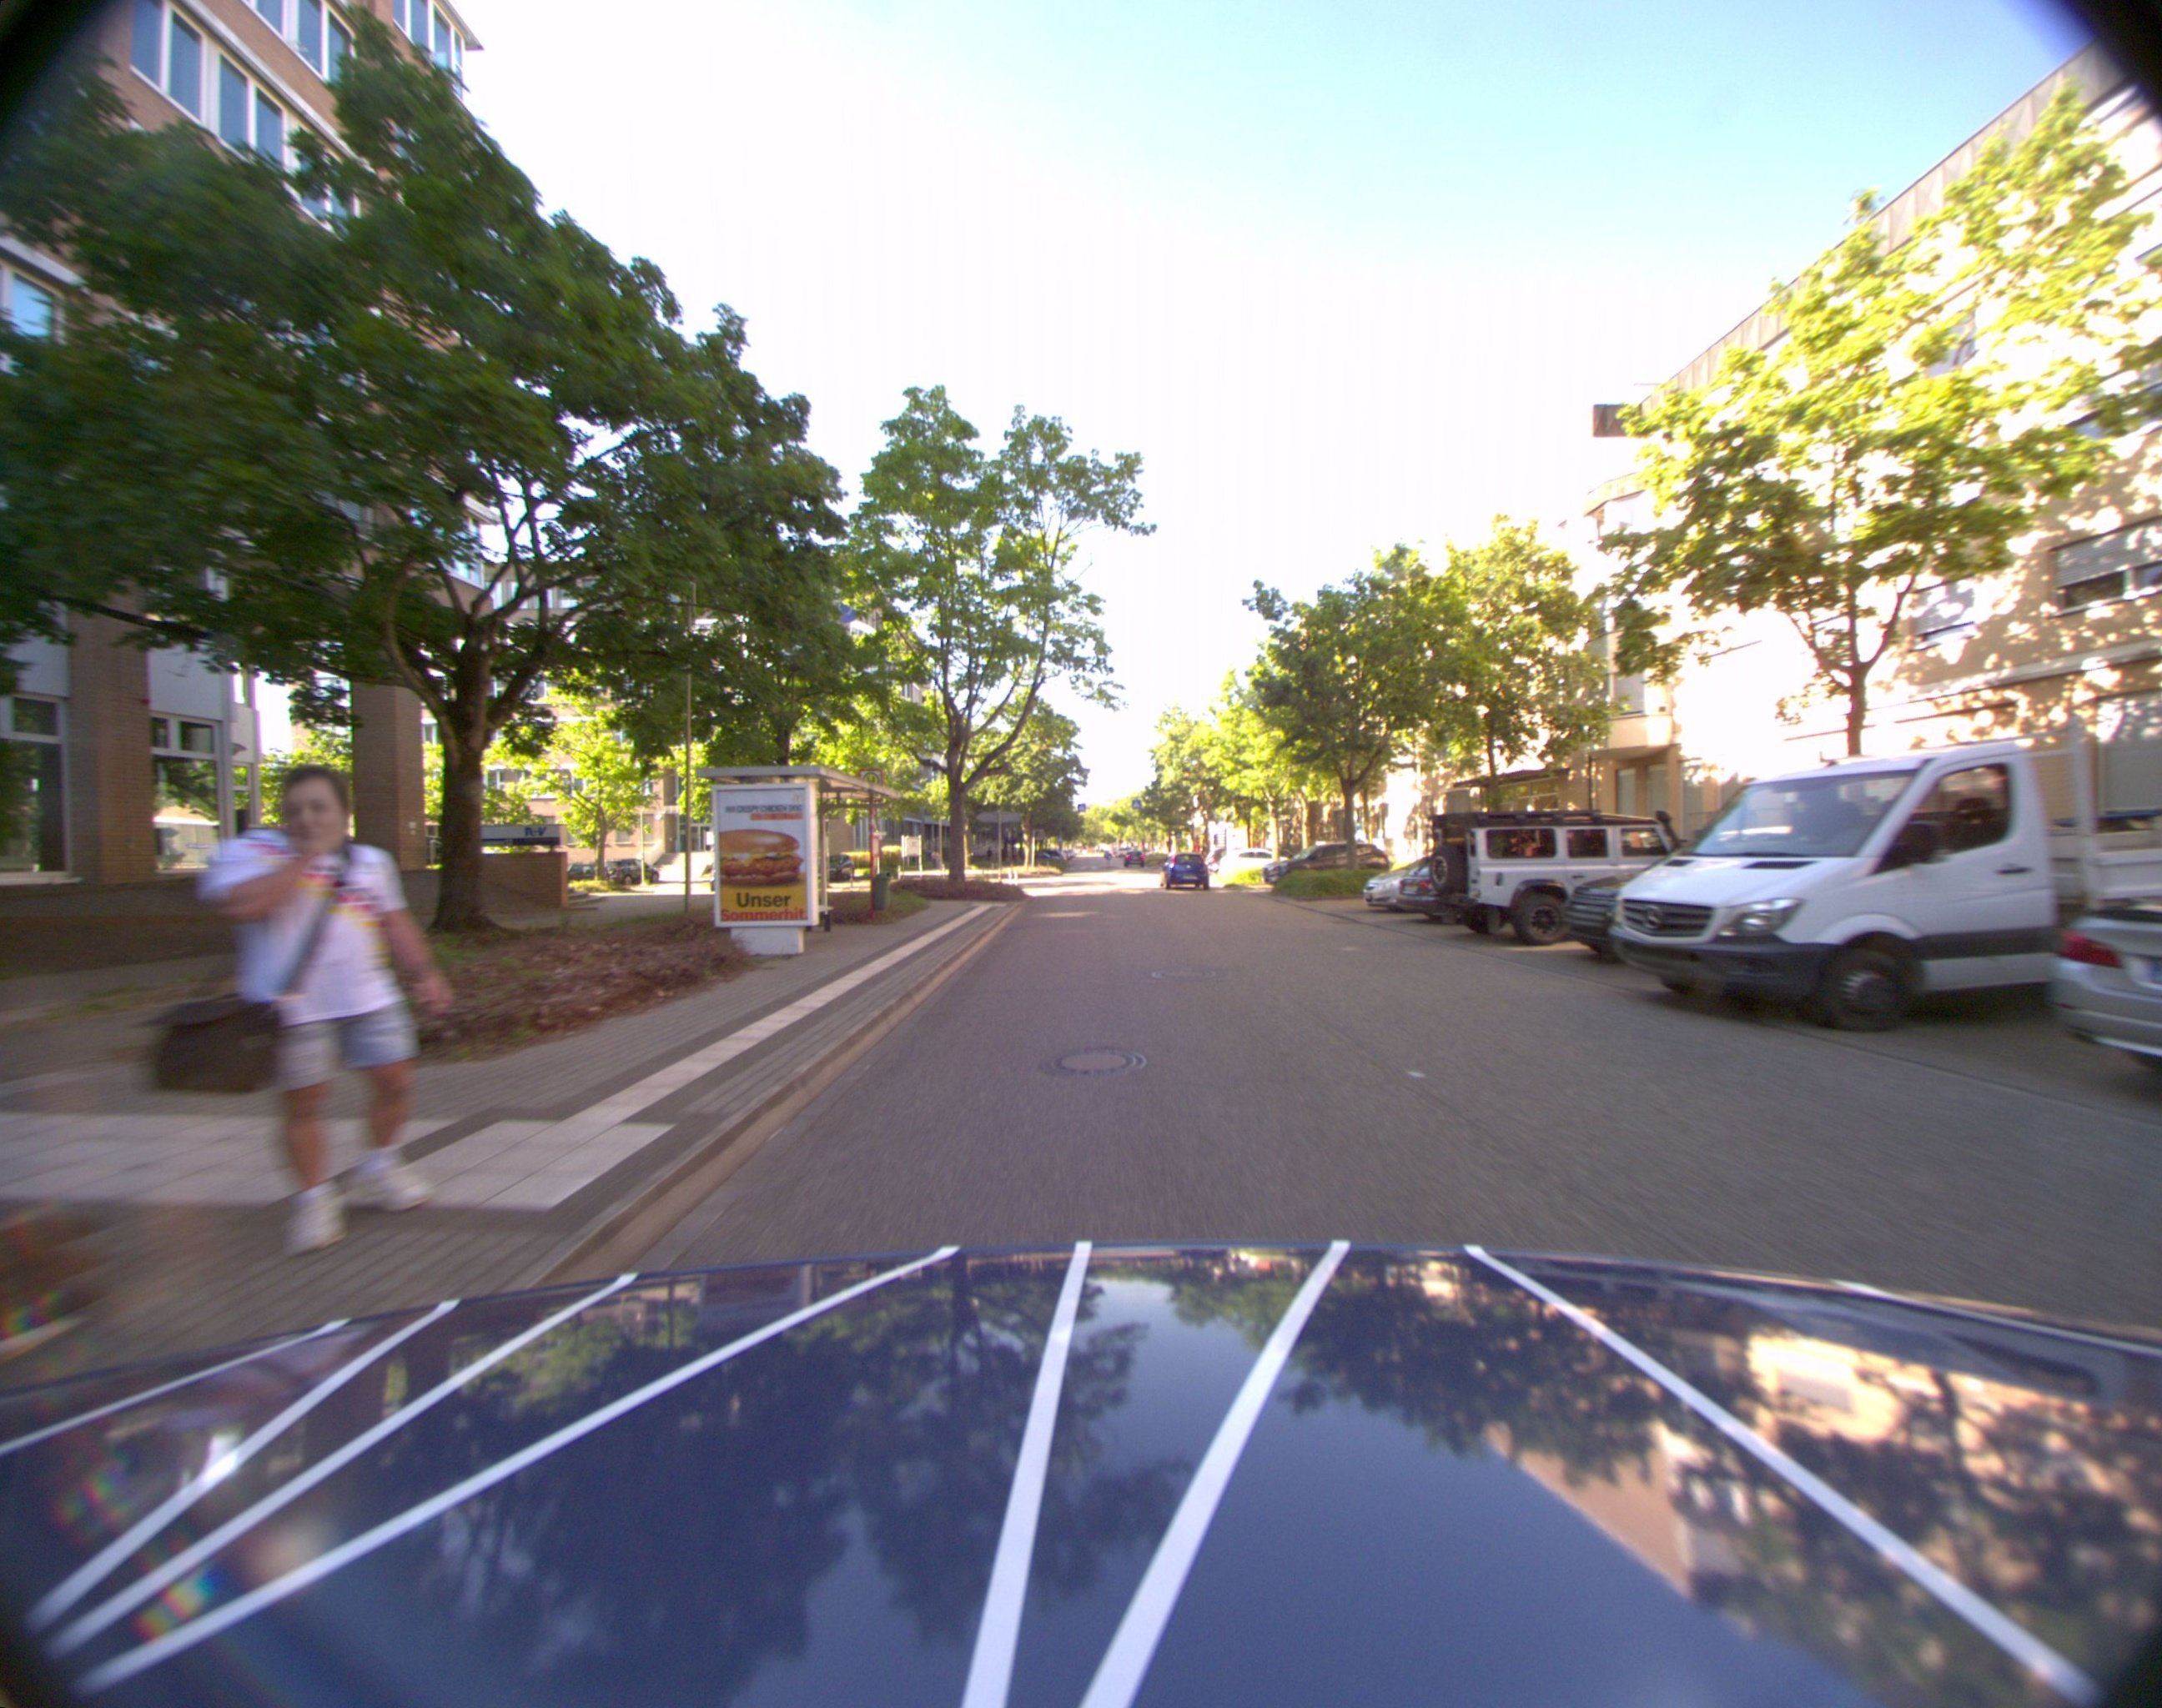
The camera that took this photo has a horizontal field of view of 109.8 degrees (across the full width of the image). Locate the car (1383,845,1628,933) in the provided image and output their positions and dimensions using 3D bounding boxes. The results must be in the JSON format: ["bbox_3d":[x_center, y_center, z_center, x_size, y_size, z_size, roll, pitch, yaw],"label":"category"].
[{"bbox_3d":[8.251,0.645,15.022,3.788,1.484,1.832,-2,1,-1],"label":"car"}]

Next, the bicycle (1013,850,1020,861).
[{"bbox_3d":[-6.716,0.127,79.467,0.535,1.072,1.919,-1,1,1],"label":"bicycle"}]

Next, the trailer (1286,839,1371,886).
[{"bbox_3d":[9.615,0.316,29.691,2.732,1.677,1.712,-2,1,1],"label":"trailer"}]

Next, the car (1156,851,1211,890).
[{"bbox_3d":[4.020,0.610,30.198,1.648,1.412,3.999,-1,1,0],"label":"car"}]

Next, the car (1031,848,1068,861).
[{"bbox_3d":[-3.670,0.031,87.760,4.136,1.453,1.659,1,1,-4],"label":"car"}]

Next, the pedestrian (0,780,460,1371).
[{"bbox_3d":[-2.878,0.649,2.587,0.921,1.701,0.697,2,0,-13],"label":"pedestrian"}]

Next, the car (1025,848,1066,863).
[{"bbox_3d":[-3.688,0.149,78.899,4.127,1.363,1.654,1,1,-3],"label":"car"}]

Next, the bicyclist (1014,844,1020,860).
[{"bbox_3d":[-6.719,-0.214,79.631,0.538,1.627,0.822,-1,1,1],"label":"bicyclist"}]

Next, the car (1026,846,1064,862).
[{"bbox_3d":[-3.949,-0.010,83.571,4.136,1.581,1.659,1,2,-4],"label":"car"}]

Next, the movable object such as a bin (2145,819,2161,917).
[{"bbox_3d":[17.789,0.220,11.717,1.149,1.554,1.243,-1,1,-12],"label":"movable object such as a bin"}]

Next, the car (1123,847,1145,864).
[{"bbox_3d":[4.776,0.096,69.021,1.784,1.503,3.999,-1,1,0],"label":"car"}]

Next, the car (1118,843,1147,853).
[{"bbox_3d":[9.397,-1.062,139.604,5.317,1.876,2.000,0,1,2],"label":"car"}]

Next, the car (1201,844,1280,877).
[{"bbox_3d":[8.820,0.331,42.230,3.997,1.561,1.728,-3,1,0],"label":"car"}]

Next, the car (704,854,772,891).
[{"bbox_3d":[-14.705,0.752,32.776,1.657,1.454,3.914,-1,0,-9],"label":"car"}]

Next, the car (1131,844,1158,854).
[{"bbox_3d":[9.788,-0.753,116.993,4.003,1.411,1.618,-2,1,0],"label":"car"}]

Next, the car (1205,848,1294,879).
[{"bbox_3d":[8.759,0.462,39.743,4.162,1.394,1.800,-3,1,0],"label":"car"}]

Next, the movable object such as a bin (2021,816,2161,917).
[{"bbox_3d":[17.537,0.190,13.008,1.149,1.610,1.440,-1,1,-12],"label":"movable object such as a bin"}]

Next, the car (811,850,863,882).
[{"bbox_3d":[-14.428,0.679,45.141,1.742,1.557,4.363,-2,3,-2],"label":"car"}]

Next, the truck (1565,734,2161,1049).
[{"bbox_3d":[8.266,0.273,6.960,6.247,2.408,2.187,-1,1,1],"label":"truck"}]

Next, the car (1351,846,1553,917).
[{"bbox_3d":[8.583,0.618,17.842,3.843,1.452,1.733,-2,1,4],"label":"car"}]

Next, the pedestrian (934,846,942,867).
[{"bbox_3d":[-10.927,0.208,57.964,0.539,1.573,0.648,-1,1,-9],"label":"pedestrian"}]

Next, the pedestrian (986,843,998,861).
[{"bbox_3d":[-9.106,-0.252,77.530,1.037,1.788,1.018,-2,1,0],"label":"pedestrian"}]

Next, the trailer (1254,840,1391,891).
[{"bbox_3d":[8.605,0.386,27.274,4.272,1.563,1.855,-2,1,-3],"label":"trailer"}]

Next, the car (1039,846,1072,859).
[{"bbox_3d":[-3.239,-0.228,97.269,4.136,1.657,1.907,-1,1,-4],"label":"car"}]

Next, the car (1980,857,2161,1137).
[{"bbox_3d":[8.091,0.733,3.991,4.438,1.478,1.999,-2,1,-1],"label":"car"}]

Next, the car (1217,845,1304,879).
[{"bbox_3d":[8.626,0.381,36.743,3.764,1.444,1.754,-3,1,0],"label":"car"}]

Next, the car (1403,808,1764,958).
[{"bbox_3d":[7.898,0.409,12.270,4.493,2.040,1.999,-2,1,-1],"label":"car"}]

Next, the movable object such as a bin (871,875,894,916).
[{"bbox_3d":[-3.809,0.799,14.598,0.299,0.749,0.467,1,1,0],"label":"movable object such as a bin"}]

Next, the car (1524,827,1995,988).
[{"bbox_3d":[8.249,0.592,9.584,4.117,1.652,2.000,-2,1,0],"label":"car"}]

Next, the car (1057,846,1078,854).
[{"bbox_3d":[-2.561,-0.762,141.760,3.998,1.471,1.803,0,1,-2],"label":"car"}]
